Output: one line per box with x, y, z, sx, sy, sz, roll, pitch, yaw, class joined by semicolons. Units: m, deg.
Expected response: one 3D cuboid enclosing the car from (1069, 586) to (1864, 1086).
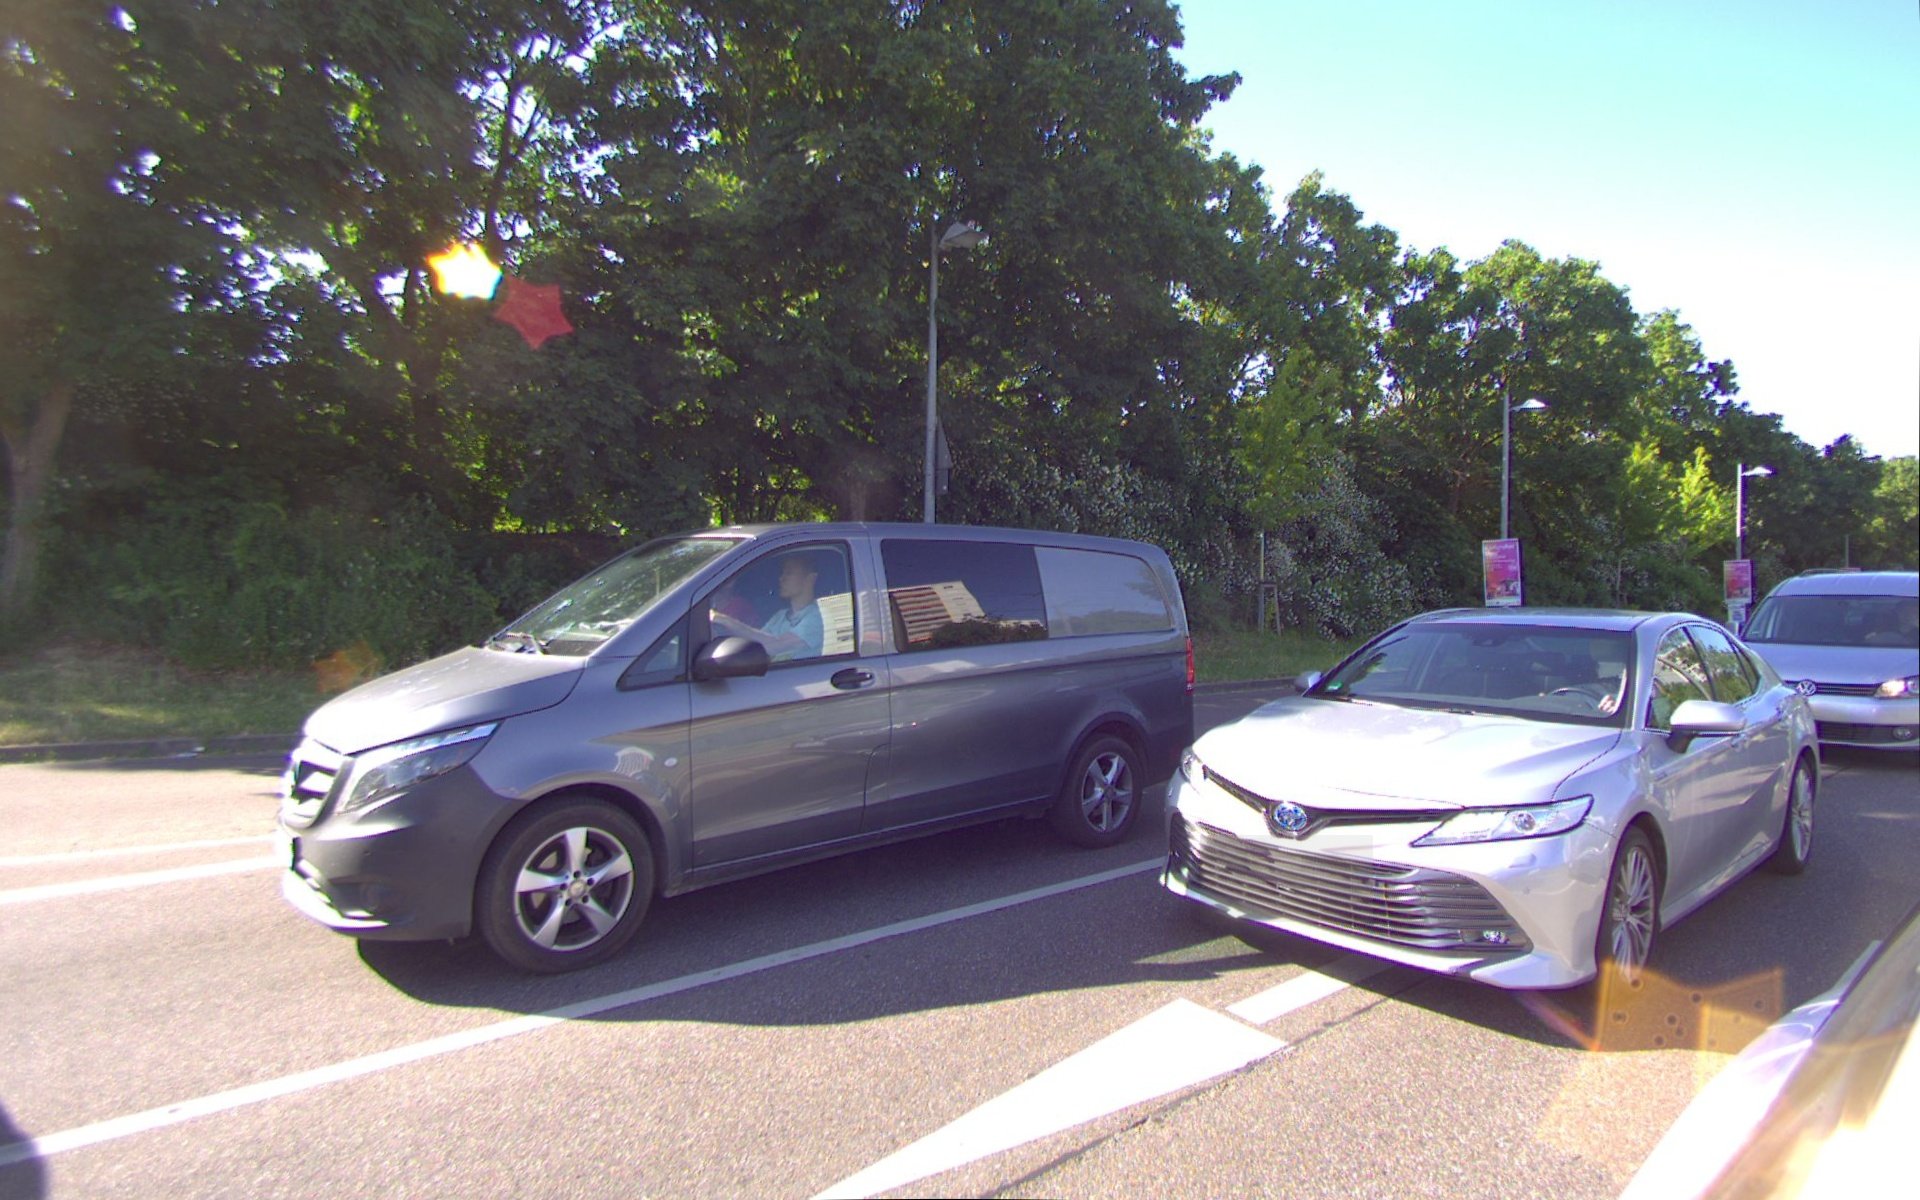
2.954;0.695;5.357;4.664;1.477;2.069;0;2;-40;car

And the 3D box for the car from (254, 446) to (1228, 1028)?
-0.834;0.417;5.736;5.056;1.917;1.998;0;1;-40;car

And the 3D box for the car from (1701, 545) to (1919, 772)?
9.506;0.471;10.548;4.540;1.928;1.822;0;1;-40;car

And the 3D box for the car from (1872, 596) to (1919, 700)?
14.976;0.674;14.873;3.995;1.421;1.776;0;2;-40;car
